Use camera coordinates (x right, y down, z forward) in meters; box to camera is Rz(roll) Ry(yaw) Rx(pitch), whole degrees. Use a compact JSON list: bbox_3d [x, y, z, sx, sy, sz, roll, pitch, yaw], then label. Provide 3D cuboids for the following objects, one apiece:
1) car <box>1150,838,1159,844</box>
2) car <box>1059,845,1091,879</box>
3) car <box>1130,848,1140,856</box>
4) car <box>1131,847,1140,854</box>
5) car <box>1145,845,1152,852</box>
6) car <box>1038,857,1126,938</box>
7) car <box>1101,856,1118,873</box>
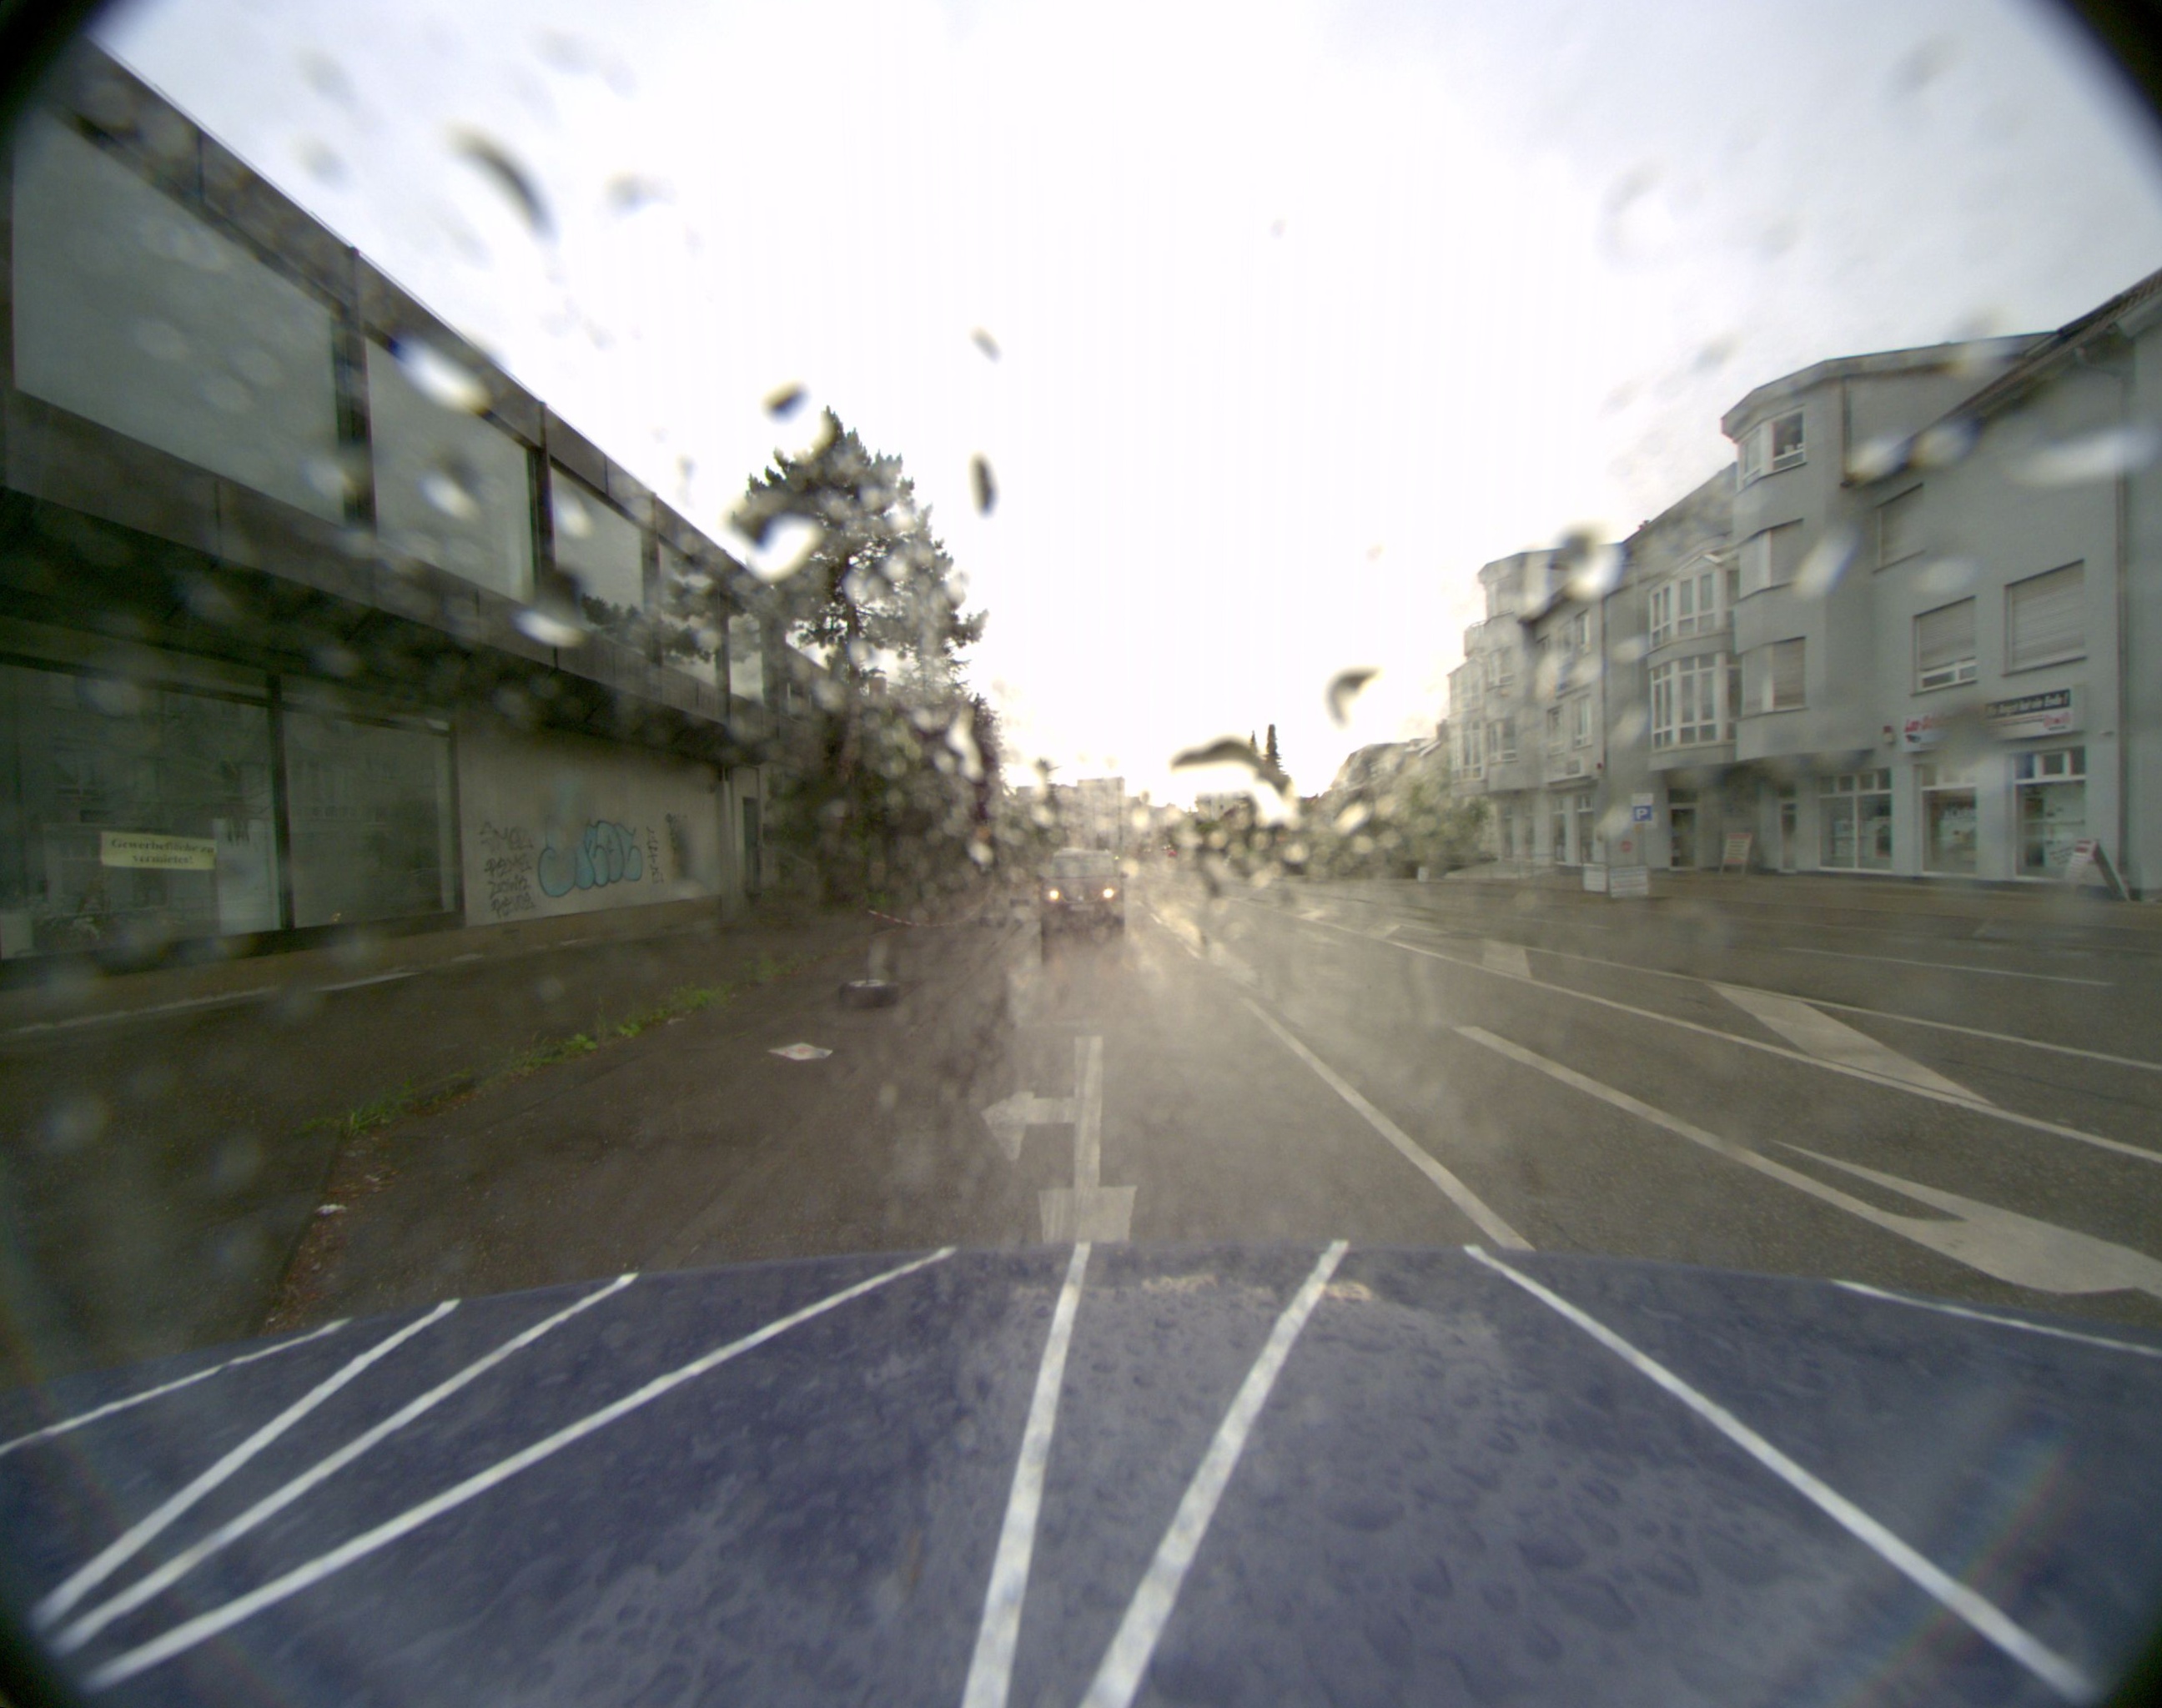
[{"bbox_3d":[23.396,-3.996,241.929,1.996,1.808,4.003,-2,1,14],"label":"car"},{"bbox_3d":[-0.357,0.480,50.404,1.998,2.072,3.999,-2,1,1],"label":"car"},{"bbox_3d":[12.365,-0.539,175.167,1.998,1.723,3.999,-2,1,1],"label":"car"},{"bbox_3d":[14.228,-0.920,197.435,1.997,1.774,4.002,-2,1,8],"label":"car"},{"bbox_3d":[19.741,-1.620,221.654,1.997,1.808,4.002,-2,1,8],"label":"car"},{"bbox_3d":[0.048,0.889,17.753,1.754,1.534,4.676,-1,1,1],"label":"car"},{"bbox_3d":[3.182,1.173,85.876,1.803,1.675,3.999,-2,1,1],"label":"car"}]
